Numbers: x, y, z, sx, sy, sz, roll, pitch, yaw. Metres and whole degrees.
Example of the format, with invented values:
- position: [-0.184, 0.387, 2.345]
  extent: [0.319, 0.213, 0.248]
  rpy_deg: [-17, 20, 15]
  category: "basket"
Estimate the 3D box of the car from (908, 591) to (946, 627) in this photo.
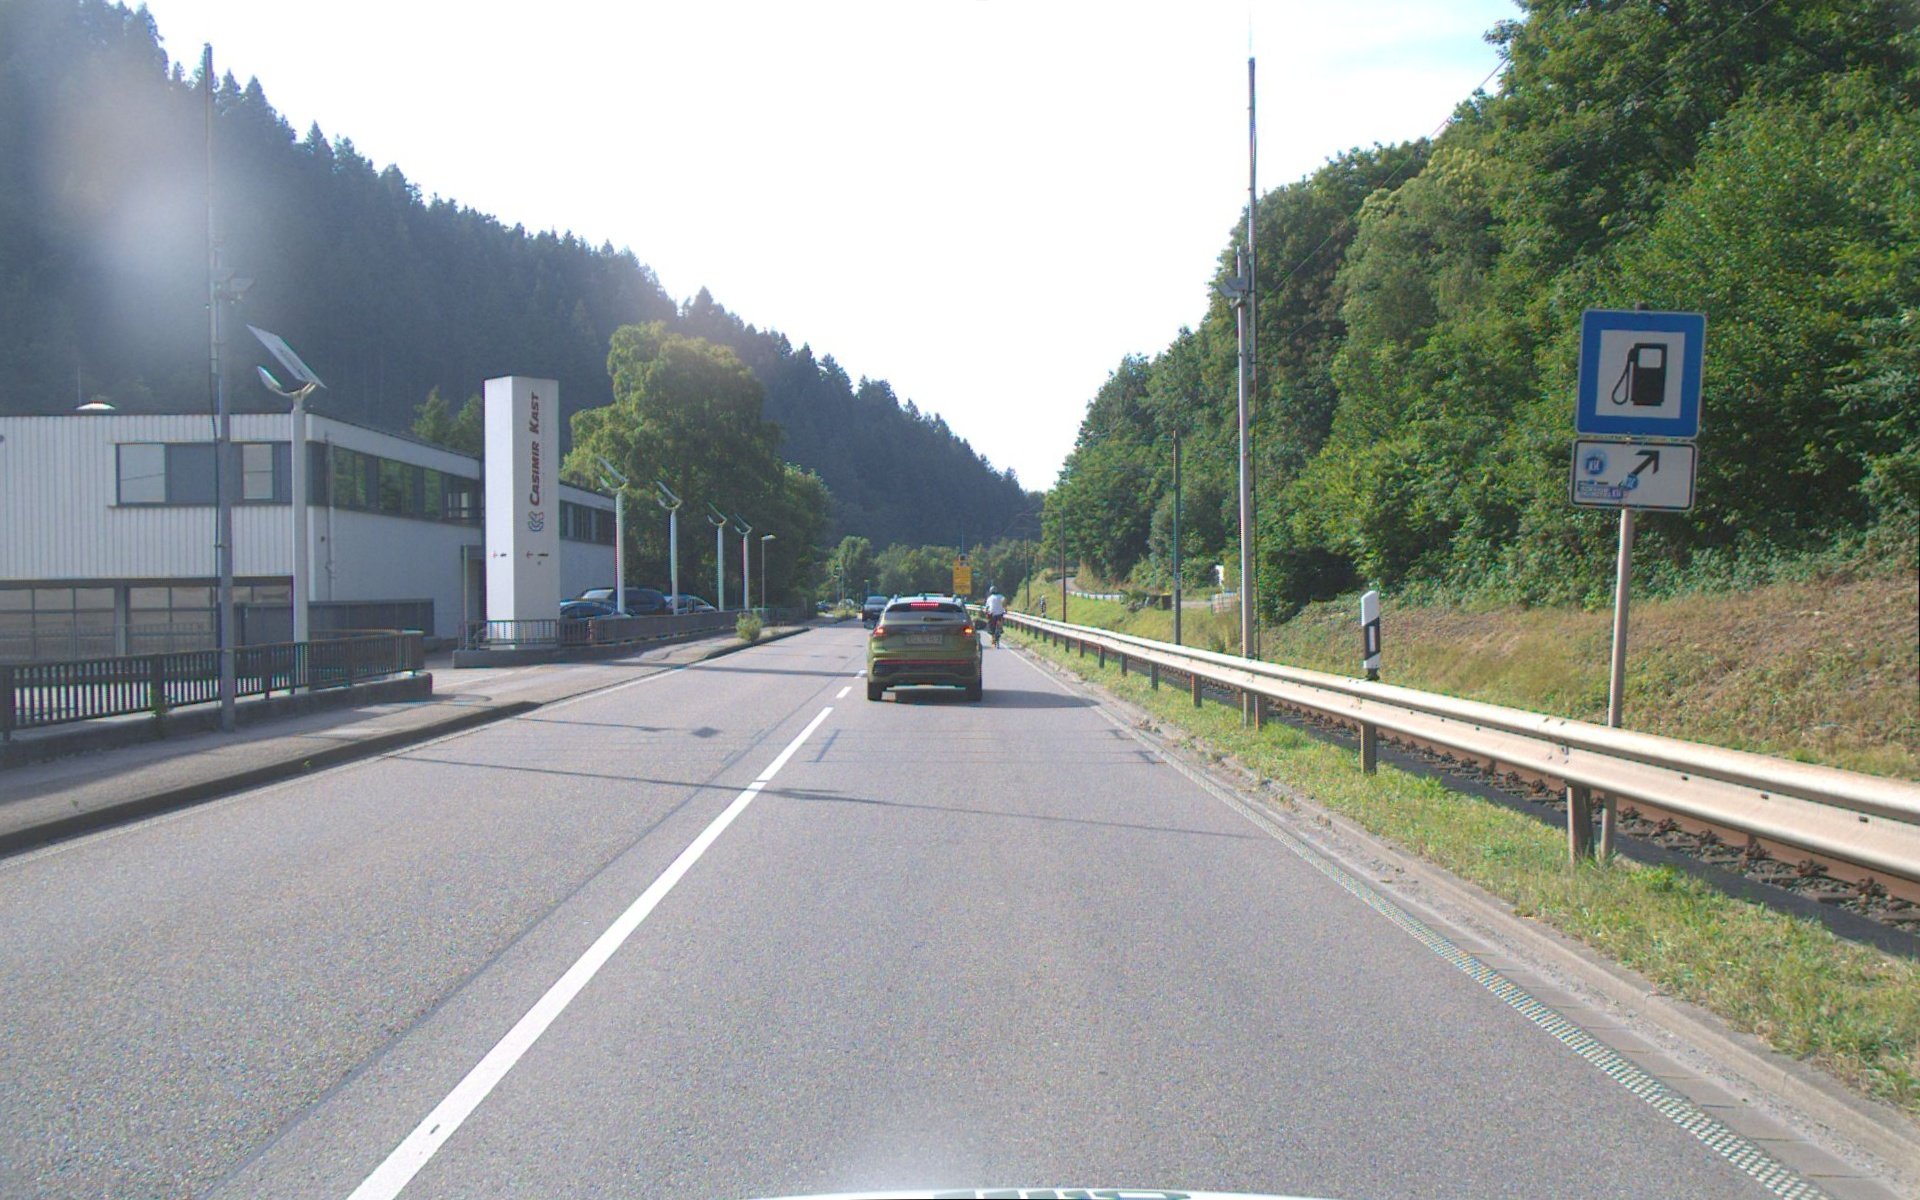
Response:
- position: [-1.566, 0.421, 77.639]
  extent: [1.704, 1.630, 3.998]
  rpy_deg: [0, 0, -2]
  category: "car"

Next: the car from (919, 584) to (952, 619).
- position: [-1.499, 0.068, 100.089]
  extent: [1.953, 2.049, 3.999]
  rpy_deg: [0, 0, -1]
  category: "car"

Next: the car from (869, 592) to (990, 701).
- position: [-0.494, 0.655, 25.322]
  extent: [1.704, 1.534, 3.998]
  rpy_deg: [0, 0, -2]
  category: "car"

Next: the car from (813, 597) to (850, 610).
- position: [-14.699, 0.446, 189.232]
  extent: [4.172, 1.458, 1.556]
  rpy_deg: [0, 0, -1]
  category: "car"

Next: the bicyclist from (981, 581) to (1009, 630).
- position: [1.039, 0.162, 49.154]
  extent: [0.766, 1.436, 0.674]
  rpy_deg: [0, 0, -3]
  category: "bicyclist"

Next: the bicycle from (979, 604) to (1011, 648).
- position: [1.039, 0.760, 49.139]
  extent: [0.795, 1.272, 2.121]
  rpy_deg: [0, 0, -3]
  category: "bicycle"

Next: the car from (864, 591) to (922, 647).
- position: [-2.036, 0.555, 50.854]
  extent: [1.704, 1.630, 3.998]
  rpy_deg: [0, 0, -2]
  category: "car"

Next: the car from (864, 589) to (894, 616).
- position: [-4.872, 0.130, 99.391]
  extent: [1.643, 1.511, 4.245]
  rpy_deg: [1, 0, -1]
  category: "car"
